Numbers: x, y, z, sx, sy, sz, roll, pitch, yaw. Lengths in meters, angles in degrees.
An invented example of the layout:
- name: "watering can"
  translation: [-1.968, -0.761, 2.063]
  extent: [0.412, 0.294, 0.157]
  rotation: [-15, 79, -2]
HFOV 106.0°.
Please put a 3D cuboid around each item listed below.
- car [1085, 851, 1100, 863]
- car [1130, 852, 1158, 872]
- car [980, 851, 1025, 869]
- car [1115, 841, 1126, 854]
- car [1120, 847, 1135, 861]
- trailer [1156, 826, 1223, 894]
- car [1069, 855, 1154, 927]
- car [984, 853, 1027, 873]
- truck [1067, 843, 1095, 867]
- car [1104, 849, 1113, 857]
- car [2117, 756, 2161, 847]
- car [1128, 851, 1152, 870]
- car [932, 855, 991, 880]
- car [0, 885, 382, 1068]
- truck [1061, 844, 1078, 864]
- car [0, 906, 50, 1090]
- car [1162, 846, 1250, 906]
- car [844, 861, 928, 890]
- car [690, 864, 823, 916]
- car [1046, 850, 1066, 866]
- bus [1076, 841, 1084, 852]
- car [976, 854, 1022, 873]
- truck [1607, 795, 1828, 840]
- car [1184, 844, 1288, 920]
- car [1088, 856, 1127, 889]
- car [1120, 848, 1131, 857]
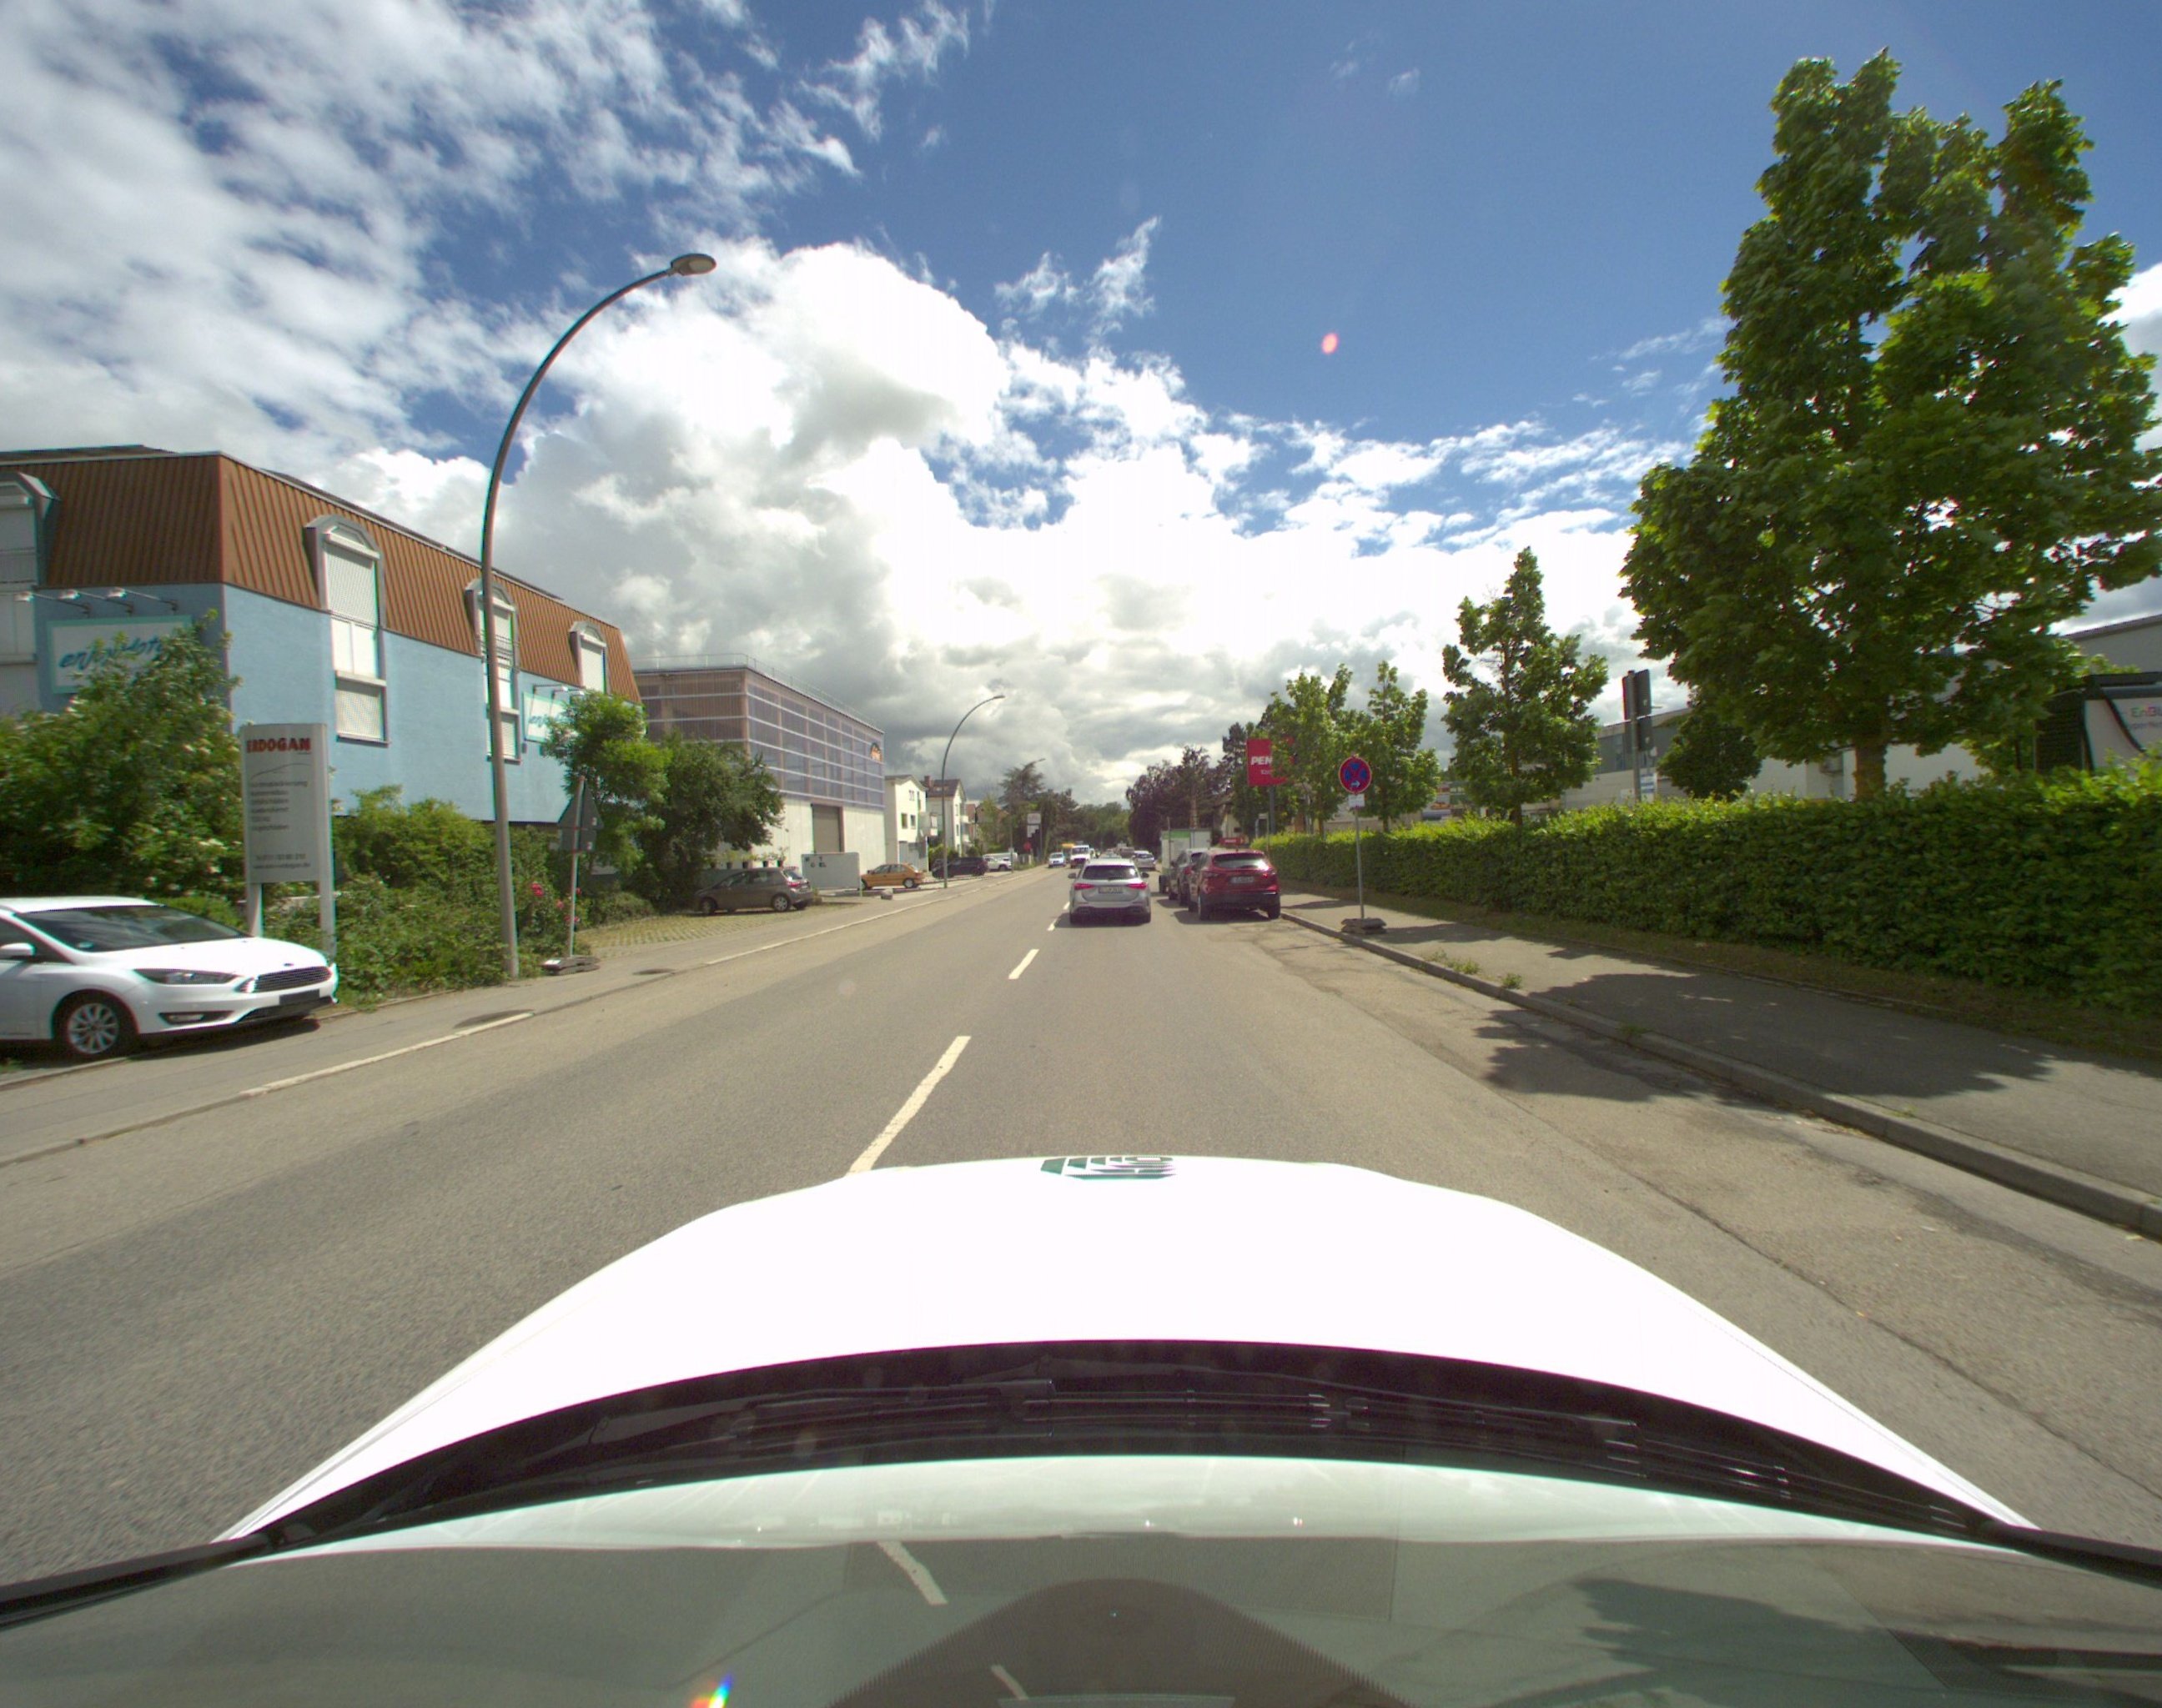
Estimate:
- name: "car"
  translation: [1.823, 0.450, 129.202]
  extent: [1.985, 1.733, 4.552]
  rotation: [-3, 1, 3]
- name: "car"
  translation: [5.124, 0.607, 66.695]
  extent: [1.786, 1.450, 4.362]
  rotation: [-3, 1, 0]
- name: "car"
  translation: [-7.965, 0.654, 83.037]
  extent: [4.265, 1.567, 1.991]
  rotation: [-3, -3, 0]
- name: "car"
  translation: [7.894, -1.218, 162.987]
  extent: [1.779, 2.518, 4.316]
  rotation: [-1, 0, 0]
- name: "car"
  translation: [7.127, -0.019, 125.573]
  extent: [2.136, 1.984, 5.264]
  rotation: [-3, 0, 2]
- name: "trailer"
  translation: [4.028, 0.193, 30.956]
  extent: [1.935, 2.294, 4.446]
  rotation: [-3, 0, 1]
- name: "car"
  translation: [0.645, 0.786, 19.379]
  extent: [1.779, 1.484, 4.316]
  rotation: [-1, 0, 0]
- name: "car"
  translation: [-7.864, 0.977, 85.323]
  extent: [4.265, 1.836, 1.991]
  rotation: [-3, -3, 0]
- name: "truck"
  translation: [0.041, 0.039, 82.074]
  extent: [2.309, 2.178, 6.456]
  rotation: [-3, 0, 4]
- name: "car"
  translation: [5.734, -0.138, 170.889]
  extent: [1.749, 1.558, 4.001]
  rotation: [-2, 1, 1]
- name: "car"
  translation: [22.112, -0.975, 14.854]
  extent: [3.974, 1.706, 2.000]
  rotation: [0, 1, -1]
- name: "car"
  translation: [5.230, 0.534, 72.568]
  extent: [1.785, 1.552, 4.575]
  rotation: [-3, 1, 1]
- name: "car"
  translation: [-10.100, 1.136, 69.195]
  extent: [4.614, 1.632, 2.196]
  rotation: [-5, 1, -2]
- name: "car"
  translation: [-9.901, 1.160, 8.055]
  extent: [4.358, 1.478, 1.872]
  rotation: [-2, -1, 2]
- name: "truck"
  translation: [-1.705, -0.102, 124.031]
  extent: [2.066, 2.814, 7.084]
  rotation: [-3, 1, 3]
- name: "car"
  translation: [-10.139, 1.176, 5.549]
  extent: [3.969, 1.355, 1.874]
  rotation: [-2, 1, 4]
- name: "car"
  translation: [3.681, 0.583, 24.790]
  extent: [1.935, 1.571, 4.445]
  rotation: [-3, 0, 0]
- name: "car"
  translation: [-10.586, 1.142, 44.335]
  extent: [4.139, 1.491, 1.825]
  rotation: [0, 1, -2]
- name: "car"
  translation: [-10.950, 1.182, 27.676]
  extent: [3.612, 1.532, 1.982]
  rotation: [-2, 0, 3]
- name: "car"
  translation: [-2.749, 0.466, 90.327]
  extent: [1.785, 1.603, 4.365]
  rotation: [-3, 1, 2]
- name: "bus"
  translation: [-0.327, -2.329, 250.550]
  extent: [1.989, 3.364, 6.974]
  rotation: [0, 1, -3]
- name: "car"
  translation: [-8.041, 0.931, 80.118]
  extent: [4.263, 1.567, 1.992]
  rotation: [-3, -3, 2]
- name: "truck"
  translation: [41.404, -2.352, 53.254]
  extent: [11.932, 2.864, 2.981]
  rotation: [0, 1, 2]
- name: "car"
  translation: [3.636, 0.583, 19.878]
  extent: [1.933, 1.571, 4.450]
  rotation: [-3, 0, 4]
- name: "car"
  translation: [1.330, 0.920, 42.522]
  extent: [1.751, 1.558, 3.998]
  rotation: [-2, 1, -1]
- name: "car"
  translation: [8.272, -0.287, 151.035]
  extent: [1.779, 1.715, 4.316]
  rotation: [-1, 0, 0]
